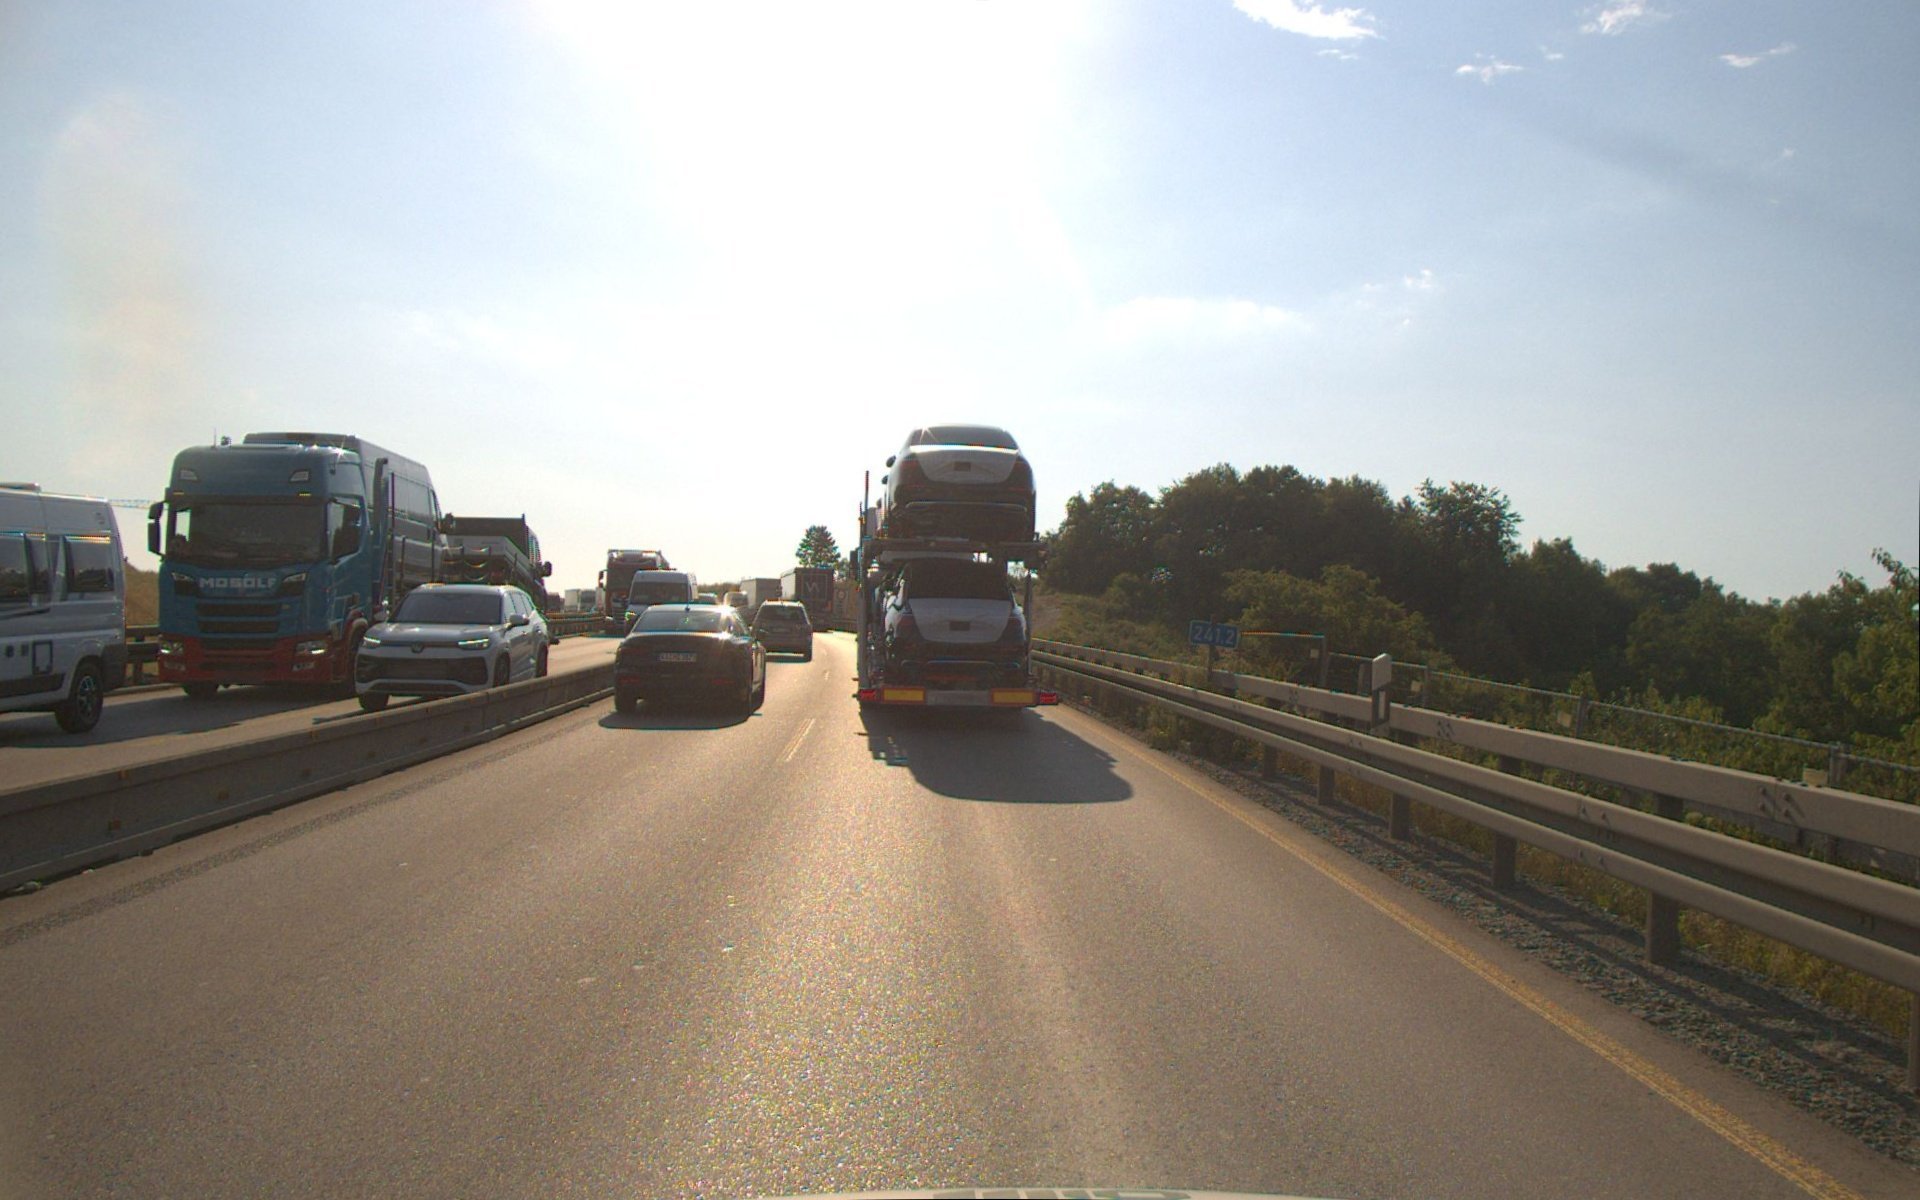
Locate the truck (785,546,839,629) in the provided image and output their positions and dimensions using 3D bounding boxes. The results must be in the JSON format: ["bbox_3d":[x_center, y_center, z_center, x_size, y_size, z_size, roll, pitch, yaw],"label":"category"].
[{"bbox_3d":[-10.049,-0.802,111.475,3.224,5.328,9.918,0,0,-7],"label":"truck"}]

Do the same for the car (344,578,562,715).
[{"bbox_3d":[-6.968,0.597,23.246,1.833,1.724,4.593,0,0,-3],"label":"car"}]

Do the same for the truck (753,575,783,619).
[{"bbox_3d":[-16.907,-0.239,145.640,2.483,3.712,8.890,0,0,-7],"label":"truck"}]

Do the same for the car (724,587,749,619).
[{"bbox_3d":[-18.065,0.280,133.561,1.885,2.536,5.398,0,0,-9],"label":"car"}]

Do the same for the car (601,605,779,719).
[{"bbox_3d":[-3.757,0.812,23.841,1.895,1.423,4.959,1,0,-2],"label":"car"}]

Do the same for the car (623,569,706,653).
[{"bbox_3d":[-9.339,0.341,52.705,2.064,2.526,6.060,0,0,-5],"label":"car"}]

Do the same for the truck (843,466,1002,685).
[{"bbox_3d":[-0.906,-0.409,34.313,2.781,3.858,9.980,0,0,-3],"label":"truck"}]

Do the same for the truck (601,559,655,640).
[{"bbox_3d":[-16.057,0.007,80.517,2.271,3.671,11.943,0,0,-10],"label":"truck"}]

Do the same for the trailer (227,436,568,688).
[{"bbox_3d":[-10.676,-0.558,33.746,2.641,3.941,15.378,0,0,-4],"label":"trailer"}]

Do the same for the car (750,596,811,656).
[{"bbox_3d":[-5.126,0.723,47.418,1.659,1.624,3.995,0,0,-6],"label":"car"}]

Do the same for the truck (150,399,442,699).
[{"bbox_3d":[-10.105,-0.692,25.848,2.453,4.137,5.880,0,0,-4],"label":"truck"}]

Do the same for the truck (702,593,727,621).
[{"bbox_3d":[-28.776,0.826,194.100,2.541,3.226,6.668,0,0,-6],"label":"truck"}]

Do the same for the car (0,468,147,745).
[{"bbox_3d":[-10.101,0.054,15.830,2.115,2.602,5.585,0,0,-3],"label":"car"}]

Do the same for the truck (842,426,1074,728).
[{"bbox_3d":[-0.330,-0.241,24.954,2.743,3.558,10.597,0,0,-3],"label":"truck"}]
